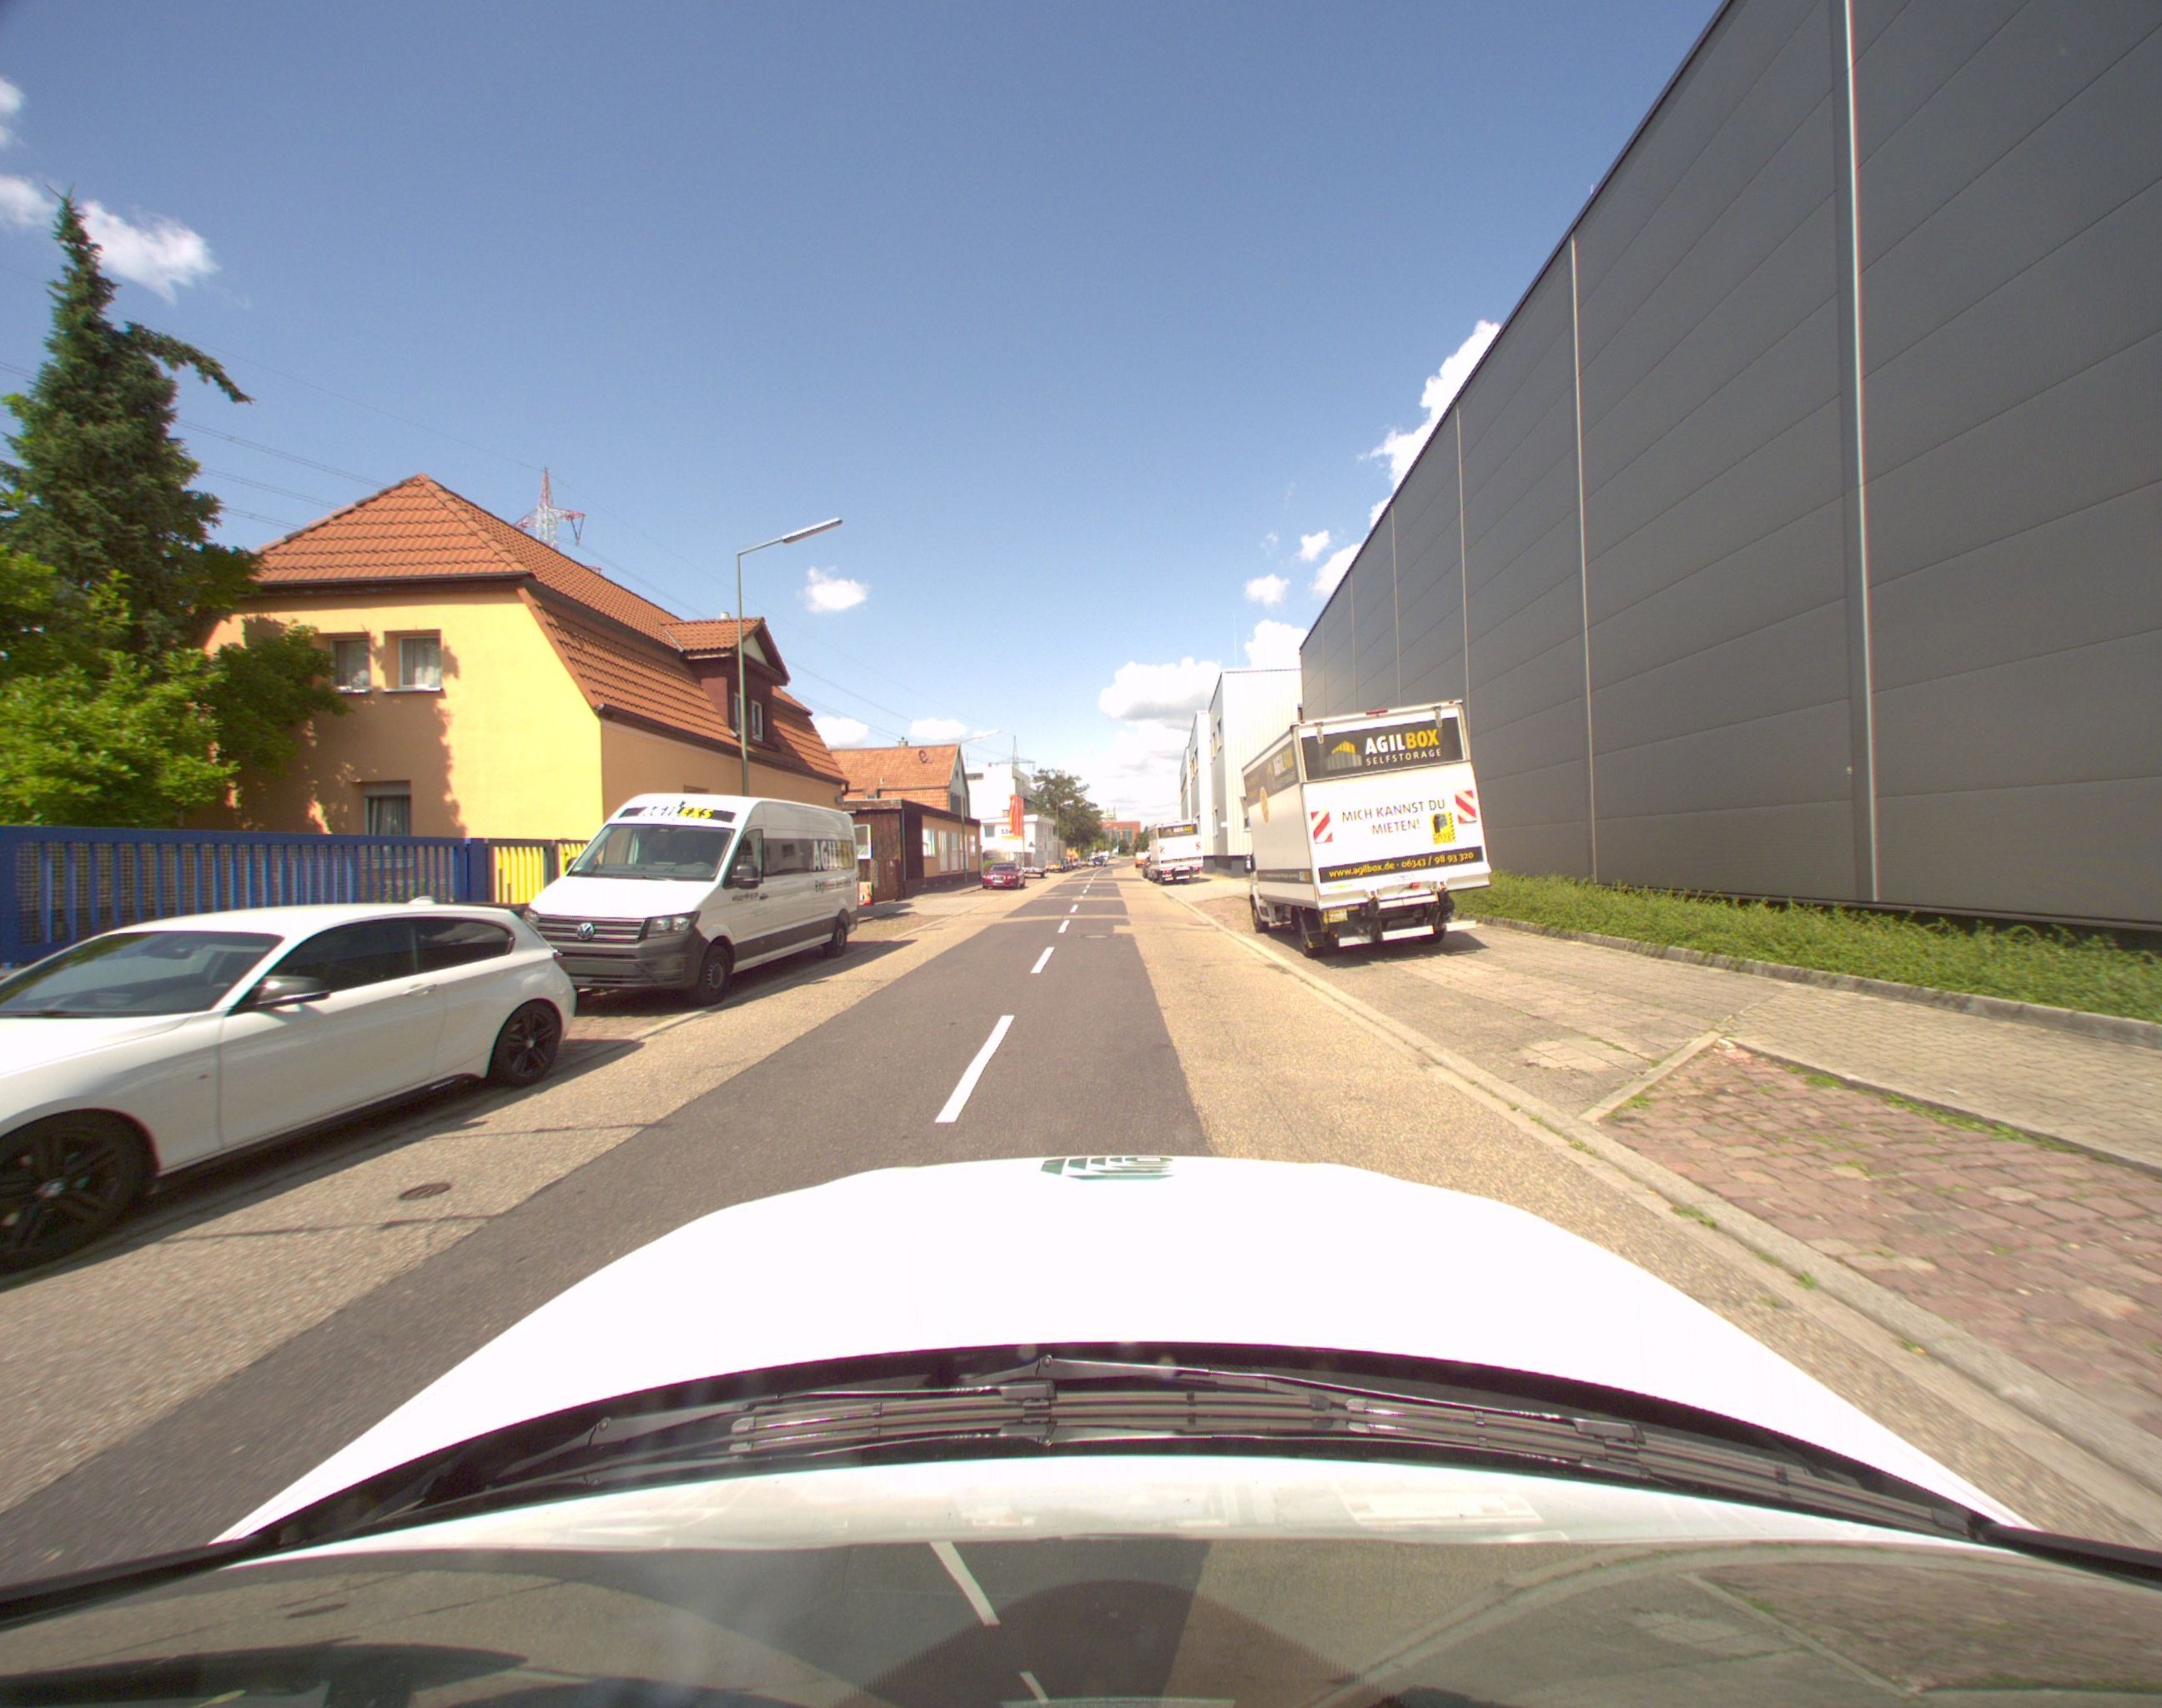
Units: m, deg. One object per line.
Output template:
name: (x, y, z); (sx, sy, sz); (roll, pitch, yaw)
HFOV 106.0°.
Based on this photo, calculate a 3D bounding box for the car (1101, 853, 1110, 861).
car: (5.325, 0.669, 176.718); (1.801, 1.564, 4.006); (0, -1, 6)

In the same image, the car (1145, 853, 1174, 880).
car: (4.992, 0.764, 52.130); (1.561, 1.574, 4.071); (-2, 0, 2)

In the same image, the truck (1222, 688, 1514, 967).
truck: (4.233, -0.319, 13.773); (2.449, 3.293, 6.821); (-6, -1, 2)

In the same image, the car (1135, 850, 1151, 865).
car: (7.575, 0.409, 99.512); (1.931, 1.742, 4.382); (-2, -1, 4)

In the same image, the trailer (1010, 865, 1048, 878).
trailer: (-3.938, 1.317, 62.632); (2.353, 0.893, 5.571); (0, 0, 2)

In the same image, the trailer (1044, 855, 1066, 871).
trailer: (-2.649, 0.907, 83.779); (1.986, 1.556, 4.255); (-1, 0, 2)

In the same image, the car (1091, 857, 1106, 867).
car: (2.345, 1.096, 110.382); (1.911, 1.285, 3.616); (-2, 0, 1)

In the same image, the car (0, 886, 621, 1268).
car: (-5.098, 0.965, 4.996); (1.788, 1.397, 4.505); (0, 0, 3)

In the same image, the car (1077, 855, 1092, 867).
car: (0.507, 1.057, 122.479); (1.913, 1.794, 4.005); (0, -1, 4)

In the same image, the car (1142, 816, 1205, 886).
car: (4.973, -0.135, 44.922); (2.382, 3.362, 6.642); (-5, 0, -1)

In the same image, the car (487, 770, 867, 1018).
car: (-5.077, 0.441, 11.857); (2.020, 2.561, 6.840); (0, -1, 1)

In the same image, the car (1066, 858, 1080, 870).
car: (-0.982, 1.263, 104.698); (1.662, 1.447, 3.455); (0, -1, 2)

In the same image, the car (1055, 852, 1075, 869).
car: (-1.940, 0.777, 99.211); (1.984, 2.014, 4.005); (0, -1, 4)

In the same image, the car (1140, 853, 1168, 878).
car: (5.129, 0.809, 57.393); (1.761, 1.612, 3.876); (-2, -1, 3)

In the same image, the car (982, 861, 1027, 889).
car: (-4.038, 1.089, 43.779); (1.755, 1.447, 4.743); (0, 0, 2)
